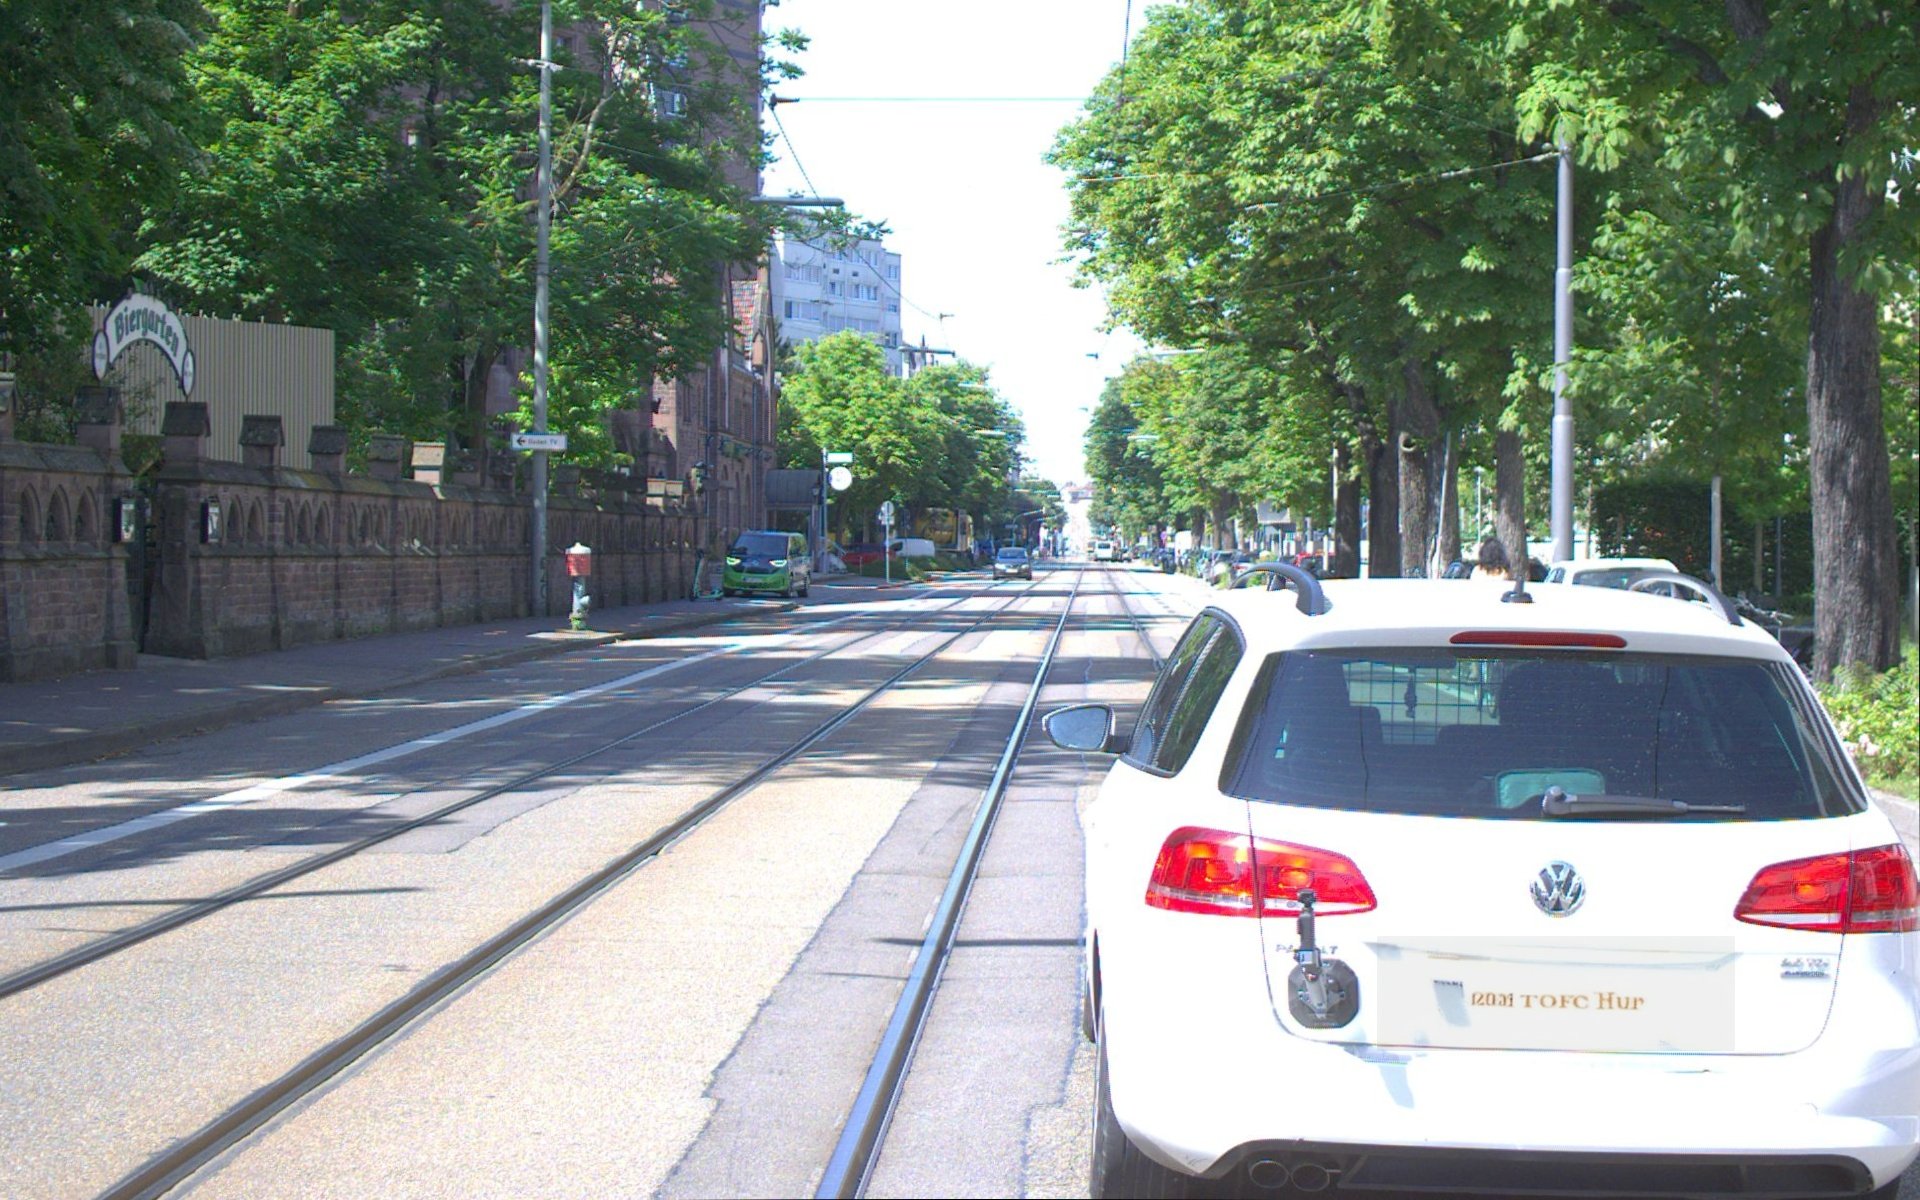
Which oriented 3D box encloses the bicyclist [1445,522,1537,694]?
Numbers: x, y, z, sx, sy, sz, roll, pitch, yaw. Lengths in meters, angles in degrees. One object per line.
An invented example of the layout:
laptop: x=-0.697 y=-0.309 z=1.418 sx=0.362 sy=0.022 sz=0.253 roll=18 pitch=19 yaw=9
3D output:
bicyclist: x=5.076 y=0.073 z=32.874 sx=0.786 sy=1.623 sz=0.738 roll=0 pitch=1 yaw=3

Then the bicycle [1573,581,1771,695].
bicycle: x=7.359 y=0.392 z=35.585 sx=1.885 sy=1.079 sz=0.551 roll=3 pitch=1 yaw=0

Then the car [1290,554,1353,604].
car: x=10.543 y=-0.627 z=100.562 sx=1.713 sy=1.396 sz=3.842 roll=0 pitch=1 yaw=4

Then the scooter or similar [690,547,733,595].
scooter or similar: x=-6.055 y=-0.706 z=83.760 sx=0.405 sy=1.151 sz=1.141 roll=1 pitch=1 yaw=37

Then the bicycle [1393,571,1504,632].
bicycle: x=8.205 y=0.021 z=57.813 sx=1.787 sy=1.007 sz=0.488 roll=0 pitch=1 yaw=-2

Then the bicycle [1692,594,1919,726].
bicycle: x=7.072 y=0.495 z=28.742 sx=1.774 sy=1.079 sz=0.596 roll=0 pitch=1 yaw=0

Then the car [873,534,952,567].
car: x=-2.653 y=-2.764 z=192.212 sx=3.987 sy=1.809 sz=2.000 roll=0 pitch=1 yaw=-33

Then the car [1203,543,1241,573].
car: x=12.598 y=-2.024 z=165.407 sx=1.713 sy=1.396 sz=3.843 roll=0 pitch=1 yaw=3

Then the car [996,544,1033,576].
car: x=2.406 y=-1.764 z=150.857 sx=1.493 sy=1.380 sz=3.642 roll=0 pitch=1 yaw=3

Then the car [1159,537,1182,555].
car: x=15.960 y=-4.092 z=260.424 sx=1.713 sy=1.396 sz=3.843 roll=0 pitch=1 yaw=3

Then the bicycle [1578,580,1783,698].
bicycle: x=7.318 y=0.388 z=34.944 sx=1.911 sy=1.079 sz=0.551 roll=3 pitch=1 yaw=0

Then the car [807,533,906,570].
car: x=-4.775 y=-2.246 z=158.931 sx=4.116 sy=1.525 sz=1.933 roll=2 pitch=1 yaw=-18

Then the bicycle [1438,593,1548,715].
bicycle: x=5.065 y=0.494 z=32.770 sx=0.811 sy=1.074 sz=2.012 roll=1 pitch=1 yaw=3

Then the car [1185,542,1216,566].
car: x=13.716 y=-2.639 z=196.374 sx=1.713 sy=1.396 sz=3.843 roll=0 pitch=1 yaw=3

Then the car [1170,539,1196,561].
car: x=14.701 y=-3.297 z=226.727 sx=1.713 sy=1.396 sz=3.843 roll=0 pitch=1 yaw=3

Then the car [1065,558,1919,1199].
car: x=1.165 y=0.623 z=8.773 sx=1.754 sy=1.437 sz=4.412 roll=1 pitch=1 yaw=1

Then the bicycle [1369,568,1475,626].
bicycle: x=8.160 y=-0.057 z=60.770 sx=1.787 sy=1.007 sz=0.488 roll=0 pitch=1 yaw=-2

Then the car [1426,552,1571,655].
car: x=8.014 y=0.023 z=51.500 sx=1.664 sy=1.439 sz=4.633 roll=0 pitch=1 yaw=3

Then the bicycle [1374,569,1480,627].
bicycle: x=8.177 y=-0.042 z=60.249 sx=1.787 sy=1.007 sz=0.488 roll=0 pitch=1 yaw=-2

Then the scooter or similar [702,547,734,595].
scooter or similar: x=-6.137 y=-0.736 z=87.264 sx=0.423 sy=1.196 sz=1.142 roll=0 pitch=1 yaw=17

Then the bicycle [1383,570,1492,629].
bicycle: x=8.182 y=-0.010 z=58.975 sx=1.787 sy=1.007 sz=0.488 roll=0 pitch=1 yaw=-2

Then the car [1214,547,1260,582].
car: x=11.298 y=-1.474 z=140.455 sx=1.713 sy=1.396 sz=3.843 roll=0 pitch=1 yaw=2

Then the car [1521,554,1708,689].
car: x=7.465 y=0.212 z=39.505 sx=1.590 sy=1.446 sz=3.946 roll=0 pitch=1 yaw=3

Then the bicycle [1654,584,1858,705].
bicycle: x=7.509 y=0.412 z=32.472 sx=1.774 sy=1.116 sz=0.596 roll=0 pitch=1 yaw=0

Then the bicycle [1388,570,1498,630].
bicycle: x=8.203 y=0.006 z=58.391 sx=1.787 sy=1.007 sz=0.488 roll=0 pitch=1 yaw=-2

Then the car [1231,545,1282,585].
car: x=10.557 y=-1.265 z=122.529 sx=1.713 sy=1.396 sz=3.843 roll=0 pitch=1 yaw=3

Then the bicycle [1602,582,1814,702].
bicycle: x=7.331 y=0.410 z=33.730 sx=1.911 sy=1.079 sz=0.551 roll=2 pitch=1 yaw=0

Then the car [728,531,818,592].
car: x=-5.415 y=-1.134 z=99.990 sx=1.994 sy=1.751 sz=4.711 roll=0 pitch=1 yaw=5

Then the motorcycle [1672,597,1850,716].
motorcycle: x=7.189 y=0.503 z=30.891 sx=1.465 sy=1.042 sz=0.534 roll=0 pitch=1 yaw=0

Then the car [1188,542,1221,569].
car: x=13.179 y=-2.412 z=185.155 sx=1.713 sy=1.396 sz=3.843 roll=0 pitch=1 yaw=3

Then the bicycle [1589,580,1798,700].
bicycle: x=7.315 y=0.393 z=34.331 sx=1.911 sy=1.079 sz=0.551 roll=3 pitch=1 yaw=0
